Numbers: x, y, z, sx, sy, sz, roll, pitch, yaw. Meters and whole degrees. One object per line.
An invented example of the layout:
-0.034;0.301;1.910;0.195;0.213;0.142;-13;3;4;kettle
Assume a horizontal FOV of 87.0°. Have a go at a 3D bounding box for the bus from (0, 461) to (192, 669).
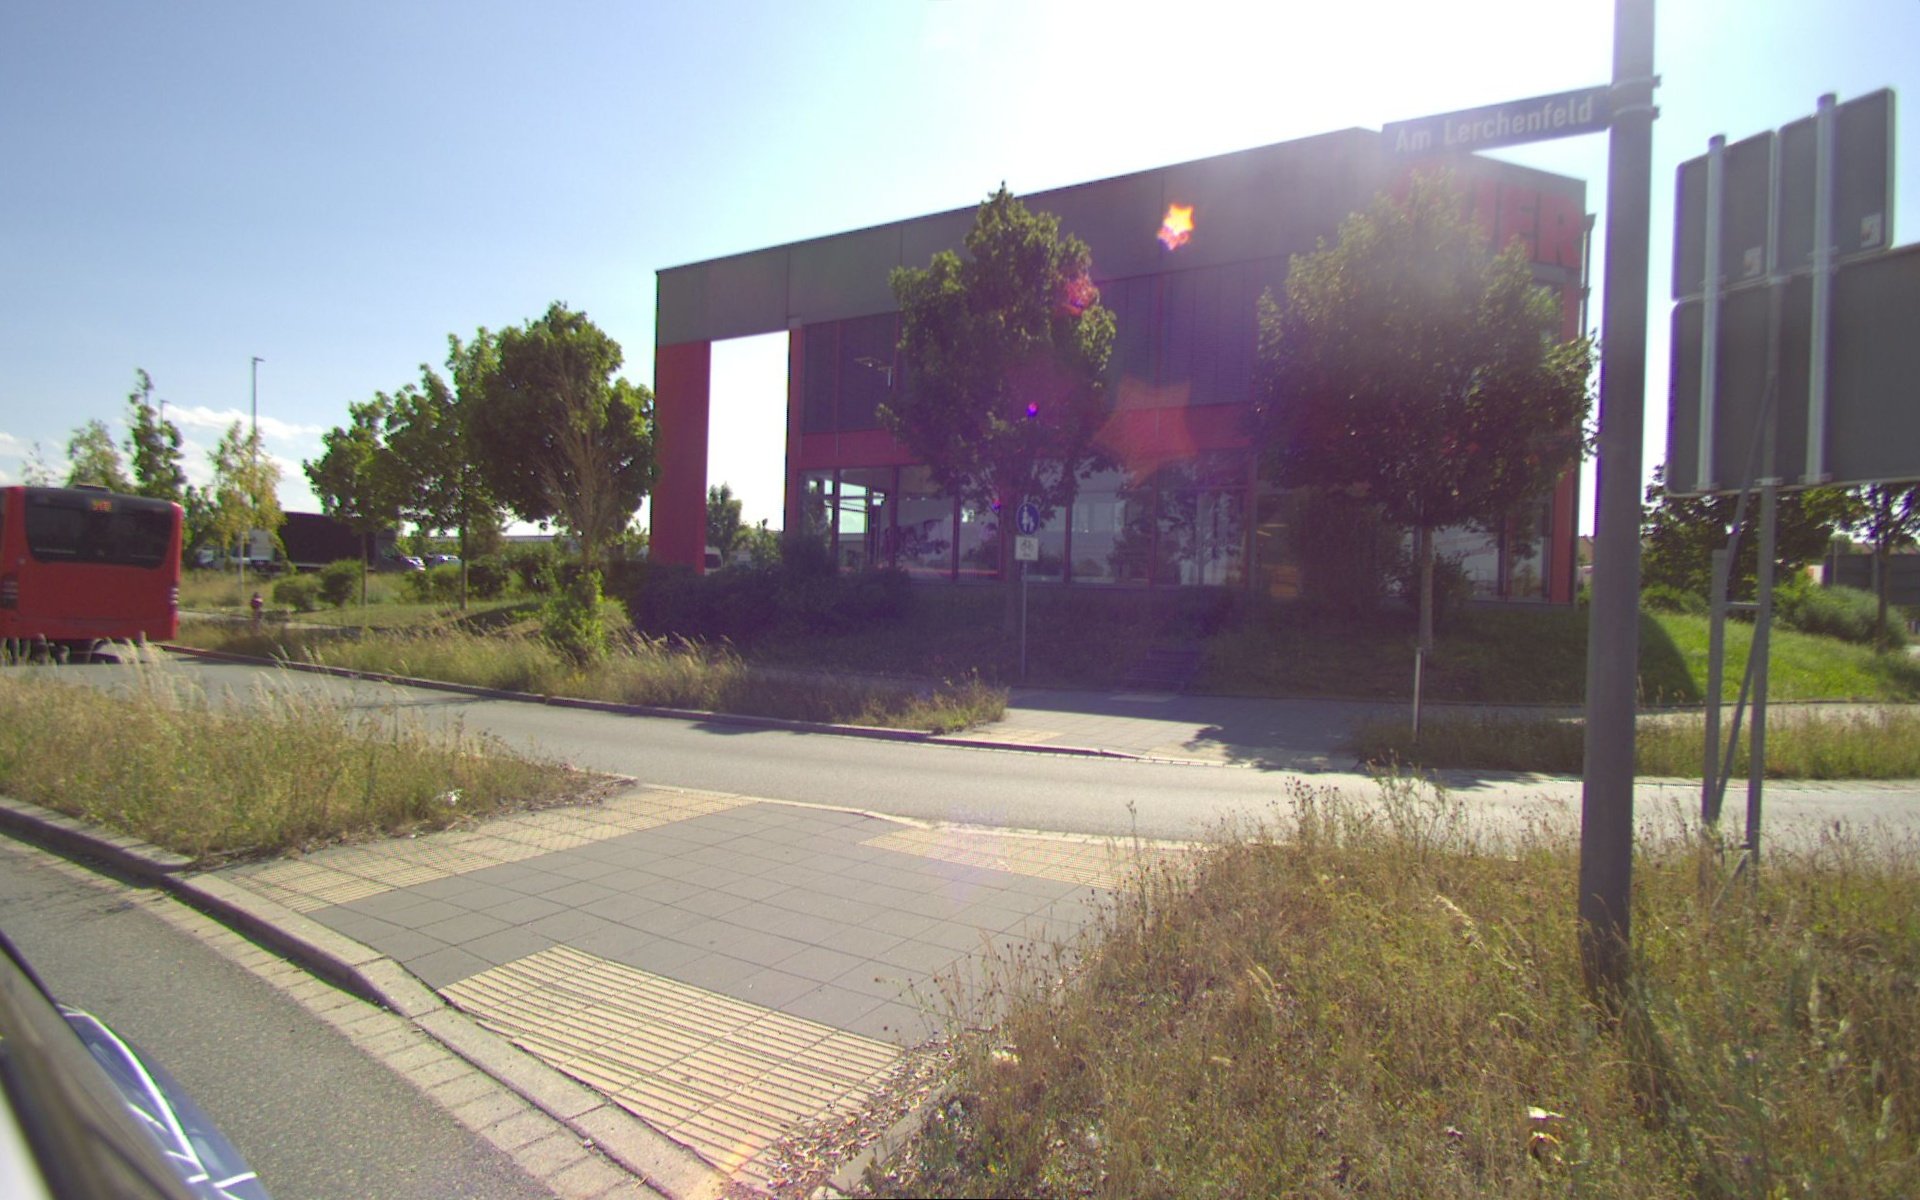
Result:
-19.558;-0.637;20.022;11.835;3.266;2.591;1;-1;30;bus
